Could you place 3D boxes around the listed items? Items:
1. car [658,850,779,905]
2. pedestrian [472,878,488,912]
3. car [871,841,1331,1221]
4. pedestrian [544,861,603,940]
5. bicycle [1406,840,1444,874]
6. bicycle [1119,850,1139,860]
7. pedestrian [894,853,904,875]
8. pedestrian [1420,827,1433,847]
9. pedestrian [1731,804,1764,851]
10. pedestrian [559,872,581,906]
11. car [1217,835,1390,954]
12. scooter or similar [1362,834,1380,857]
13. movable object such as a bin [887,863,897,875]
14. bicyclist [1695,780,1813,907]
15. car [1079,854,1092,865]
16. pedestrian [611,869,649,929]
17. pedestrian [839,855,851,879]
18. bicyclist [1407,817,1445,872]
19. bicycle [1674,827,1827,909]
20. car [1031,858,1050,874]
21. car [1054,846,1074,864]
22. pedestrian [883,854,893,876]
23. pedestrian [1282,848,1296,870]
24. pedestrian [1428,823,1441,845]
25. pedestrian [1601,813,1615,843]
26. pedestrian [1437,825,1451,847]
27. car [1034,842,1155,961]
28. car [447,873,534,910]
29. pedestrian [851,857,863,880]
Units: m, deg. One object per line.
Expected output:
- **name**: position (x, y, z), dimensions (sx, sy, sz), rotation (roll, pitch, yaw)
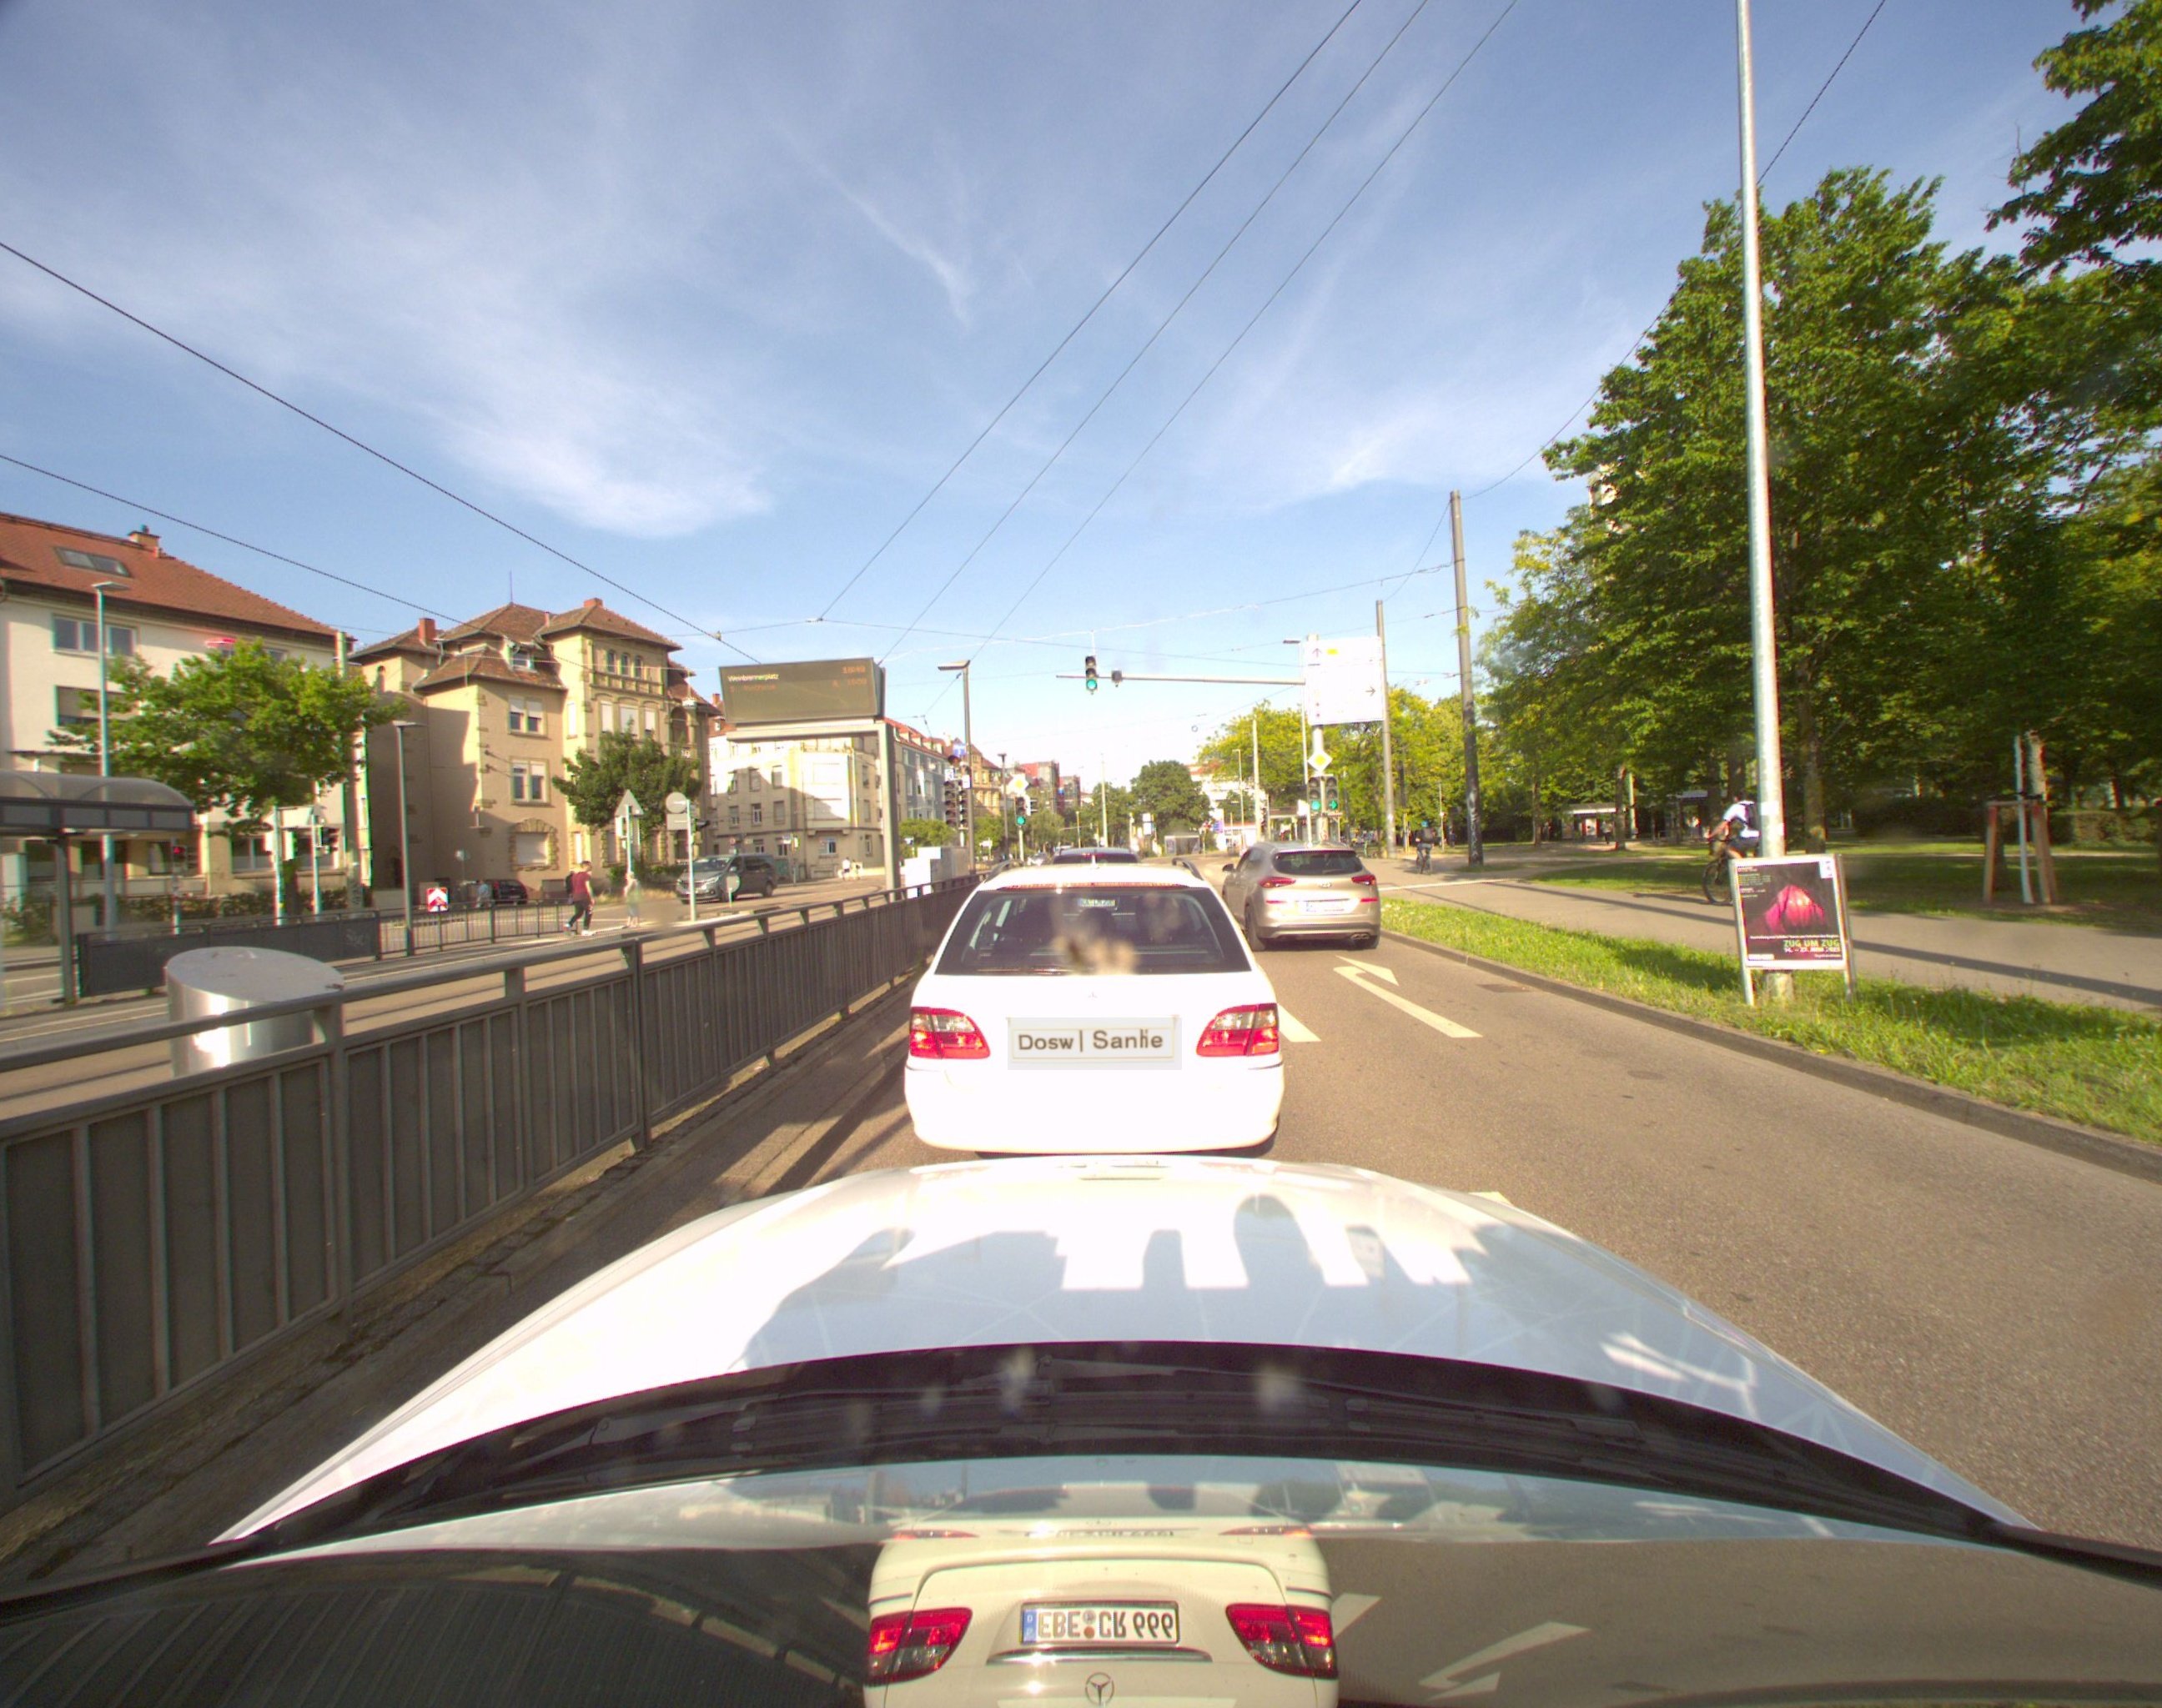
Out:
- **car**: position (-15.012, 0.905, 34.184), dimensions (2.135, 2.013, 5.396), rotation (-3, 0, 6)
- **pedestrian**: position (-27.465, 1.879, 37.206), dimensions (0.400, 1.515, 0.392), rotation (-3, 0, 28)
- **car**: position (0.138, 0.709, 5.195), dimensions (1.828, 1.501, 3.817), rotation (-1, 0, 2)
- **pedestrian**: position (-11.238, 1.009, 18.056), dimensions (0.668, 1.670, 0.883), rotation (-3, 0, -1)
- **bicycle**: position (11.875, 0.094, 28.148), dimensions (0.637, 1.088, 1.736), rotation (-5, 0, 6)
- **bicycle**: position (5.260, 0.141, 89.750), dimensions (2.000, 0.947, 0.884), rotation (-3, 0, 21)
- **pedestrian**: position (-15.510, 0.848, 69.486), dimensions (0.582, 1.880, 0.626), rotation (-3, 1, -1)
- **pedestrian**: position (27.202, -1.334, 64.103), dimensions (0.638, 1.610, 0.691), rotation (-3, 0, 1)
- **pedestrian**: position (27.754, -1.095, 33.922), dimensions (0.668, 1.897, 0.880), rotation (0, 0, 3)
- **pedestrian**: position (-25.137, 1.726, 40.038), dimensions (0.672, 1.651, 0.608), rotation (-3, 0, 28)
- **car**: position (3.368, 0.544, 13.082), dimensions (1.828, 1.600, 3.817), rotation (-1, 0, 2)
- **scooter or similar**: position (16.118, -0.447, 45.219), dimensions (0.351, 1.232, 1.131), rotation (-3, 0, -12)
- **movable object such as a bin**: position (-16.249, 1.280, 69.951), dimensions (0.580, 0.947, 0.664), rotation (-3, 0, 4)
- **bicyclist**: position (9.948, -0.148, 12.092), dimensions (0.647, 1.745, 1.140), rotation (-6, 0, 1)
- **car**: position (0.702, 0.786, 126.289), dimensions (1.760, 1.494, 4.746), rotation (-3, 2, 1)
- **pedestrian**: position (-12.468, 1.244, 22.546), dimensions (0.588, 1.589, 0.715), rotation (-3, 0, -2)
- **pedestrian**: position (-18.891, 1.071, 65.192), dimensions (0.653, 1.881, 0.629), rotation (-3, 0, 16)
- **bicyclist**: position (11.778, -0.320, 27.828), dimensions (0.716, 1.745, 1.142), rotation (-6, 0, 5)
- **bicycle**: position (9.969, 0.191, 12.235), dimensions (0.638, 1.088, 1.940), rotation (-5, 0, 1)
- **car**: position (-4.529, 1.360, 91.437), dimensions (1.670, 1.525, 4.128), rotation (-3, 1, 3)
- **car**: position (-2.233, 0.049, 108.897), dimensions (2.168, 2.239, 5.257), rotation (-3, 0, 2)
- **pedestrian**: position (-16.300, 0.923, 68.824), dimensions (0.582, 1.881, 0.627), rotation (-3, 0, 3)
- **pedestrian**: position (20.163, 0.490, 78.894), dimensions (0.986, 2.013, 0.833), rotation (-3, 0, 37)
- **pedestrian**: position (27.446, -1.534, 63.250), dimensions (0.638, 1.665, 0.691), rotation (-3, 0, 1)
- **pedestrian**: position (33.303, -1.618, 51.483), dimensions (0.463, 1.868, 0.600), rotation (0, -1, -27)
- **pedestrian**: position (27.671, -1.350, 62.069), dimensions (0.638, 1.665, 0.691), rotation (-3, 0, 1)
- **car**: position (0.242, 0.643, 13.079), dimensions (1.635, 1.600, 3.817), rotation (-1, 0, 2)
- **car**: position (-29.406, 1.880, 40.575), dimensions (3.950, 1.632, 1.787), rotation (-3, 1, 26)
- **pedestrian**: position (-17.974, 1.164, 65.272), dimensions (0.672, 1.848, 0.649), rotation (-3, 0, -1)
